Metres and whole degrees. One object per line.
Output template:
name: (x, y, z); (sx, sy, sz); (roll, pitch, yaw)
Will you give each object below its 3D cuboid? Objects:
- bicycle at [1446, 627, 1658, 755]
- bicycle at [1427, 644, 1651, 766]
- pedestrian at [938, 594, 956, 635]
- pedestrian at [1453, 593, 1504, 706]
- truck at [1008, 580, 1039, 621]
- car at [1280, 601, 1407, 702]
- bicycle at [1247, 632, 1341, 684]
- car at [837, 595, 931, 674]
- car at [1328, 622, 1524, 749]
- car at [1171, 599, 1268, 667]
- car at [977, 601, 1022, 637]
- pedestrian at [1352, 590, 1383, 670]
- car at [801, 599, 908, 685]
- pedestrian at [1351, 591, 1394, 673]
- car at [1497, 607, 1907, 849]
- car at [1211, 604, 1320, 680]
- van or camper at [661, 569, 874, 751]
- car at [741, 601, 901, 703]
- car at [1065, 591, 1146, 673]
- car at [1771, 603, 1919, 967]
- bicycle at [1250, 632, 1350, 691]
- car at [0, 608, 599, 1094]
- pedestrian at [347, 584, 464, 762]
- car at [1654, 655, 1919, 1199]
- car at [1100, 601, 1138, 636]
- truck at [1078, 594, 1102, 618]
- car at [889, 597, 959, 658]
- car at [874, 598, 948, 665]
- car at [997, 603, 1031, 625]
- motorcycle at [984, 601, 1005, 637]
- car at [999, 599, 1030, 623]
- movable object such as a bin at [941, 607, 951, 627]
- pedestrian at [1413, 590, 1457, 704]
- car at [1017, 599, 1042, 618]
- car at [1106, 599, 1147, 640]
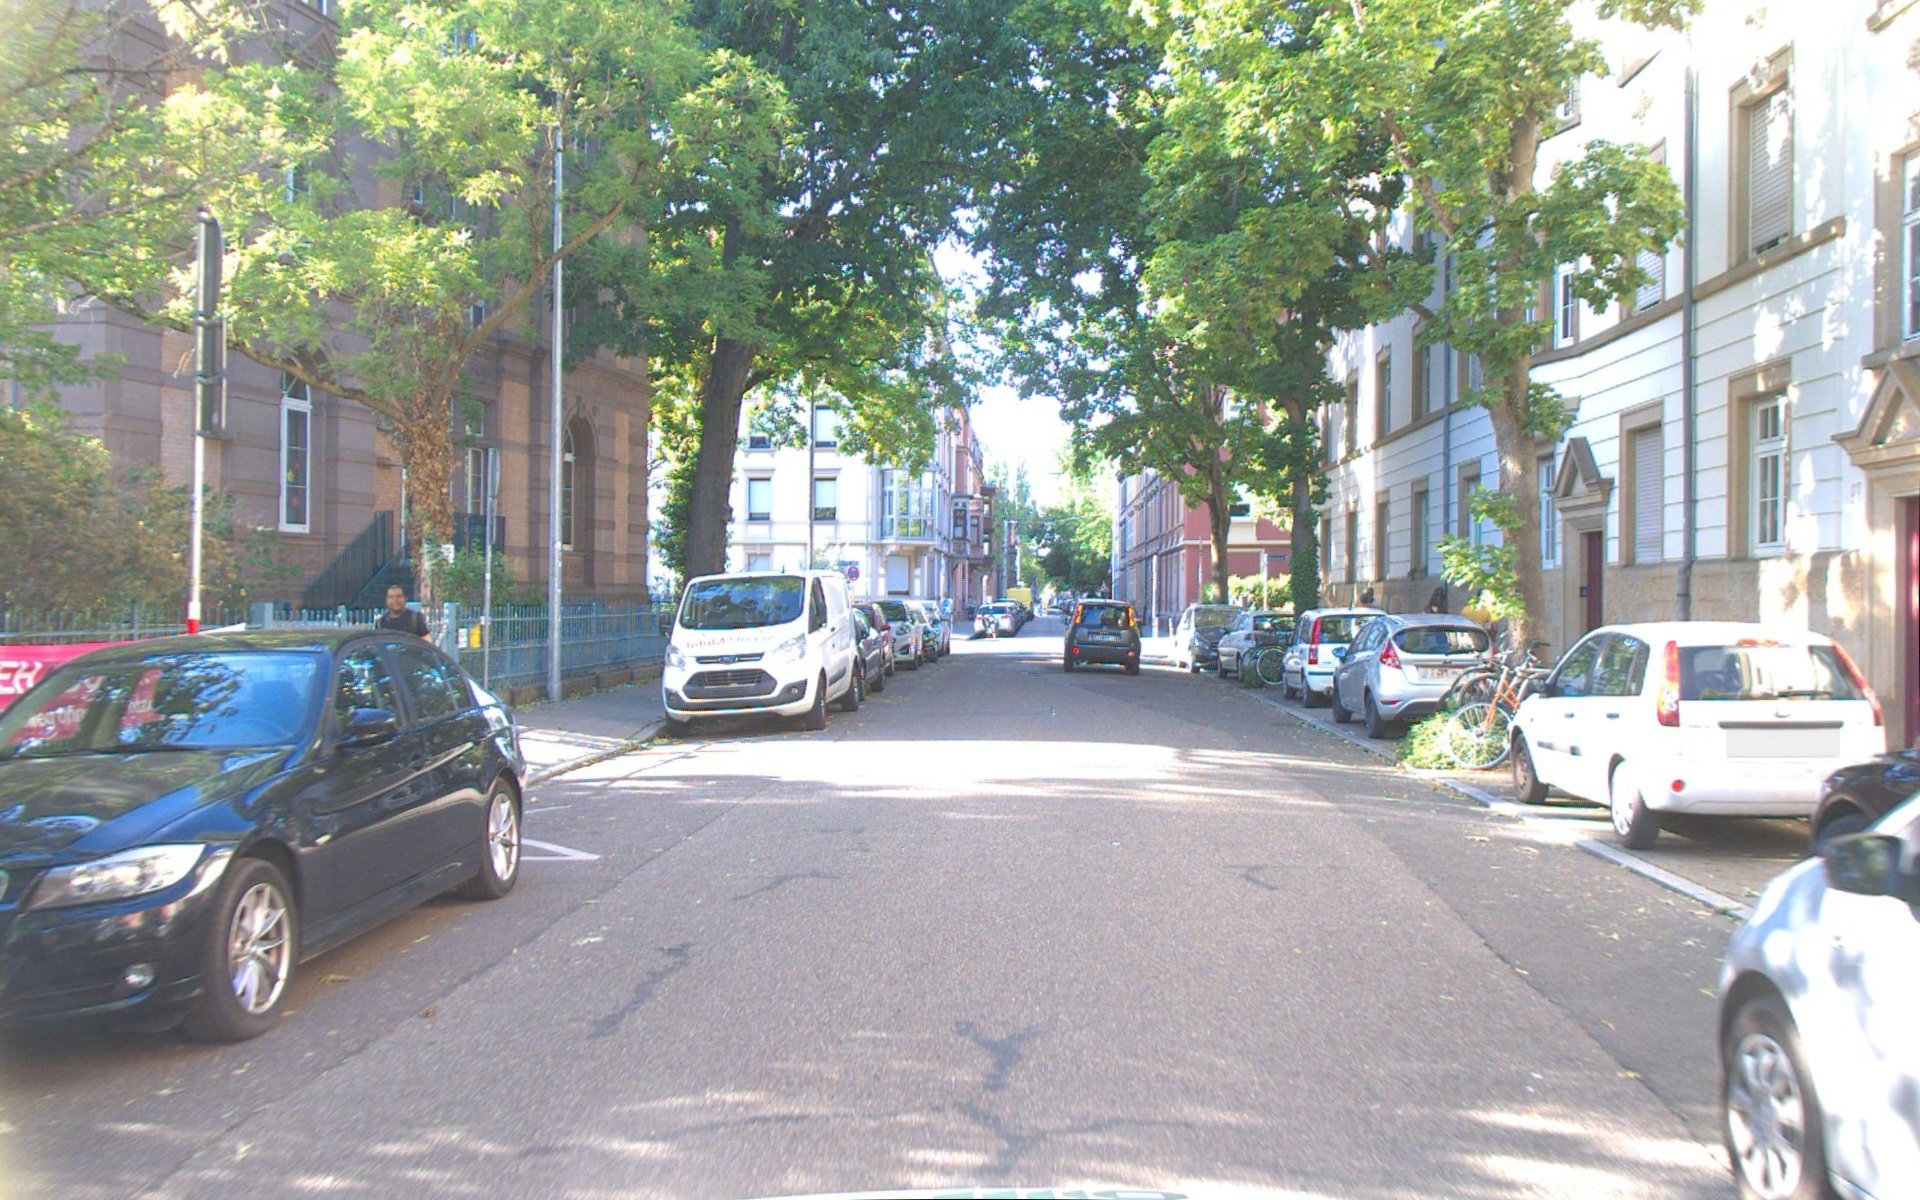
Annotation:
bicycle: (6.175, 0.939, 17.331); (1.928, 1.251, 0.760); (-2, 0, 4)
bicycle: (5.570, 1.010, 15.993); (1.928, 1.092, 0.600); (-2, 0, 4)
pedestrian: (-0.602, 0.665, 77.145); (0.707, 1.871, 0.627); (1, 0, 14)
pedestrian: (8.091, 0.765, 25.829); (0.583, 1.731, 0.689); (1, 0, 5)
truck: (4.908, 0.043, 126.844); (2.027, 2.977, 5.070); (-4, 0, 4)
car: (6.234, 0.791, 27.197); (1.488, 1.537, 3.545); (0, 0, 4)
bicycle: (6.444, 1.111, 31.940); (1.679, 0.966, 0.733); (-1, 0, 3)
car: (-1.667, 0.744, 37.699); (1.787, 1.581, 4.134); (-4, 0, 1)
car: (5.867, 1.021, 21.271); (1.588, 1.418, 4.159); (0, 0, 4)
car: (6.366, 0.790, 40.925); (1.752, 1.578, 4.410); (0, 0, 1)
car: (1.792, 0.822, 74.292); (1.759, 1.456, 3.927); (-3, 0, 4)
pedestrian: (8.988, 0.660, 36.510); (0.479, 1.735, 0.757); (1, 0, 2)
car: (-2.010, 0.773, 32.377); (1.568, 1.485, 4.029); (-3, 0, 3)
pedestrian: (8.899, 0.680, 35.671); (0.761, 1.724, 0.875); (1, 0, 6)
car: (5.317, 0.826, 12.385); (1.563, 1.514, 3.750); (-1, 0, 3)
car: (6.443, 0.856, 35.213); (1.578, 1.504, 3.869); (0, 0, -1)
van or camper: (-2.384, 0.707, 21.958); (1.882, 2.014, 5.463); (-3, 0, 2)
car: (-2.200, 0.799, 27.475); (1.959, 1.483, 4.608); (-2, 0, 3)
car: (3.106, 0.649, 35.483); (1.598, 1.577, 3.266); (2, 1, 4)
car: (4.922, 0.802, 6.173); (1.749, 1.540, 4.461); (1, 0, 3)
bicycle: (6.309, 1.136, 30.722); (1.732, 1.057, 0.606); (1, 0, 3)
car: (-3.110, 0.813, 7.438); (1.678, 1.419, 4.781); (-4, 0, 2)
pedestrian: (-5.120, 0.666, 15.301); (0.862, 1.605, 0.529); (1, 0, 4)
car: (2.803, 0.968, 2.963); (1.644, 1.571, 3.801); (1, 0, 2)
car: (7.268, 0.839, 76.011); (1.628, 1.531, 3.759); (1, 0, 4)
truck: (11.020, 0.493, 140.217); (1.952, 2.027, 4.002); (0, 0, 3)
car: (-1.000, 0.760, 47.695); (1.661, 1.577, 3.920); (-3, 0, 3)
car: (-1.277, 0.769, 42.598); (1.711, 1.500, 4.462); (-4, 0, -2)
car: (3.470, 0.864, 105.114); (1.920, 1.246, 3.927); (-3, 0, 4)
motorcycle: (1.463, 0.801, 71.007); (0.683, 1.486, 1.749); (-1, 0, -6)
car: (3.741, 0.720, 112.769); (1.920, 1.505, 3.927); (-3, 0, 4)
movable object such as a bin: (-0.708, 0.832, 82.345); (0.501, 0.969, 0.501); (0, 0, 1)
pedestrian: (7.462, 0.729, 26.007); (0.509, 1.765, 0.878); (0, 0, 5)
car: (5.997, 0.708, 142.076); (1.920, 1.505, 3.927); (-3, 0, 4)
car: (7.166, 0.828, 71.513); (1.628, 1.698, 3.759); (1, 0, 4)
